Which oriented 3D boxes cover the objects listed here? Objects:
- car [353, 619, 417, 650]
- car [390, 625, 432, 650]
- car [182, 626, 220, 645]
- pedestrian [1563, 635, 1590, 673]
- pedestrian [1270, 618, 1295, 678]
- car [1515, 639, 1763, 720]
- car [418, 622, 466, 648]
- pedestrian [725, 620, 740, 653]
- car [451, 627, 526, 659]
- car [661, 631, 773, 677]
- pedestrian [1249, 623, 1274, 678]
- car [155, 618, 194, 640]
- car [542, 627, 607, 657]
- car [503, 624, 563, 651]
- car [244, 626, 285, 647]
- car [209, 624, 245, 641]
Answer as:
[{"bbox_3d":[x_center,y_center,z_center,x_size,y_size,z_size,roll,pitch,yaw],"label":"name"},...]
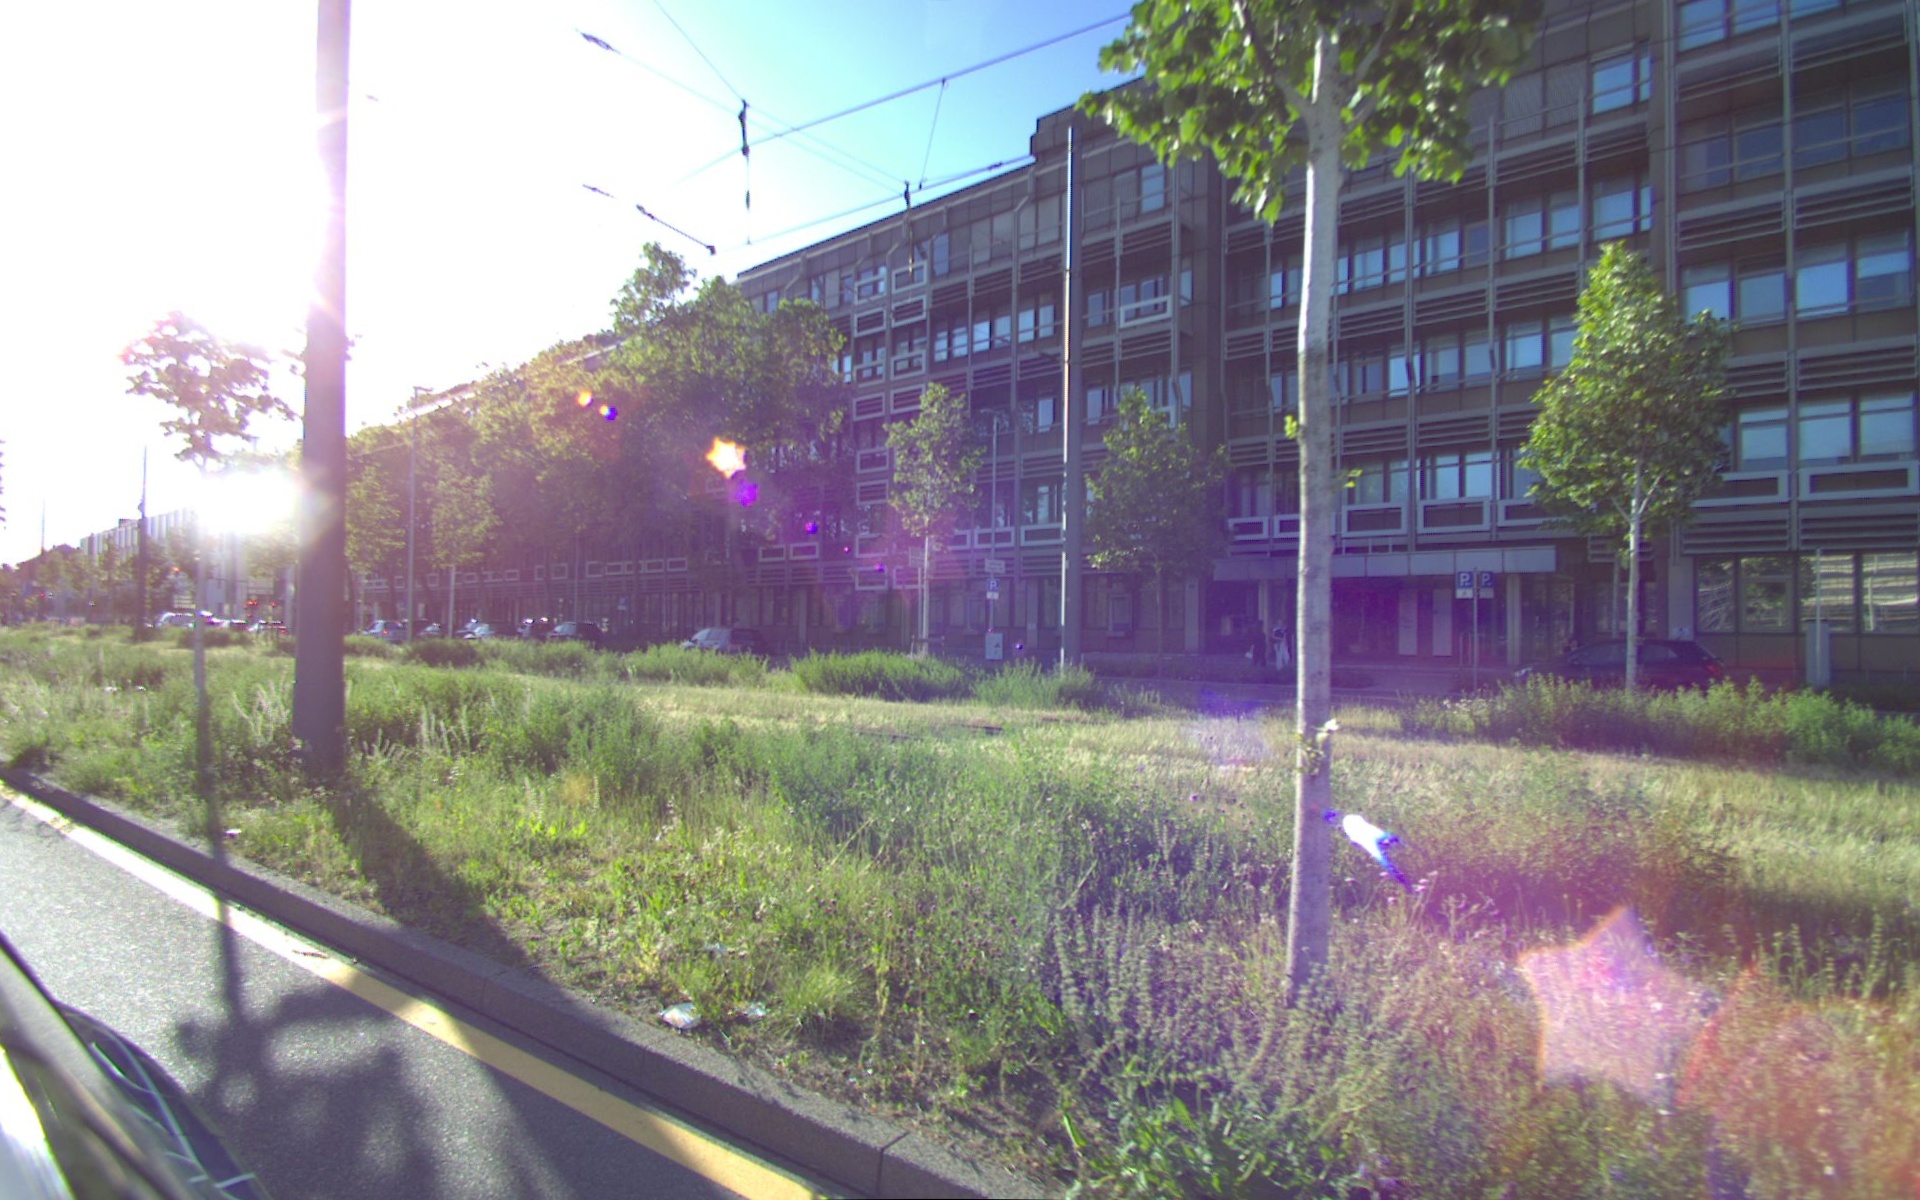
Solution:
[{"bbox_3d":[-29.116,1.757,51.225,3.778,1.507,1.611,-1,-3,41],"label":"car"},{"bbox_3d":[-37.932,2.562,69.907,3.262,1.614,1.373,-1,-1,39],"label":"car"},{"bbox_3d":[-57.728,2.703,76.930,3.778,1.390,1.535,-1,-3,41],"label":"car"},{"bbox_3d":[16.529,1.441,27.137,0.498,0.993,0.610,-1,-3,42],"label":"pedestrian"},{"bbox_3d":[9.524,1.402,29.845,0.536,1.735,0.515,-1,-3,43],"label":"pedestrian"},{"bbox_3d":[13.756,1.534,20.621,4.036,1.397,1.699,-1,-1,40],"label":"car"},{"bbox_3d":[-33.779,2.233,65.924,3.523,1.614,1.492,-1,-1,39],"label":"car"},{"bbox_3d":[-12.195,1.931,54.168,0.638,1.763,0.477,-1,-3,41],"label":"pedestrian"},{"bbox_3d":[-22.866,2.054,48.979,4.414,1.507,1.611,-1,-3,41],"label":"car"},{"bbox_3d":[-8.299,1.804,34.375,4.038,1.397,1.698,-1,0,41],"label":"car"},{"bbox_3d":[8.776,1.461,29.432,0.536,1.590,0.515,-1,-3,43],"label":"pedestrian"},{"bbox_3d":[-65.164,2.406,83.945,3.778,1.694,1.841,-1,-3,41],"label":"car"},{"bbox_3d":[-20.893,2.245,54.870,3.627,1.555,1.705,-1,-1,39],"label":"car"},{"bbox_3d":[-24.975,2.172,59.159,3.627,1.497,1.705,-1,0,39],"label":"car"},{"bbox_3d":[-52.086,2.738,75.782,3.778,1.507,1.611,-1,-3,41],"label":"car"},{"bbox_3d":[-60.330,2.667,83.277,3.778,1.390,1.535,-1,-3,41],"label":"car"}]
